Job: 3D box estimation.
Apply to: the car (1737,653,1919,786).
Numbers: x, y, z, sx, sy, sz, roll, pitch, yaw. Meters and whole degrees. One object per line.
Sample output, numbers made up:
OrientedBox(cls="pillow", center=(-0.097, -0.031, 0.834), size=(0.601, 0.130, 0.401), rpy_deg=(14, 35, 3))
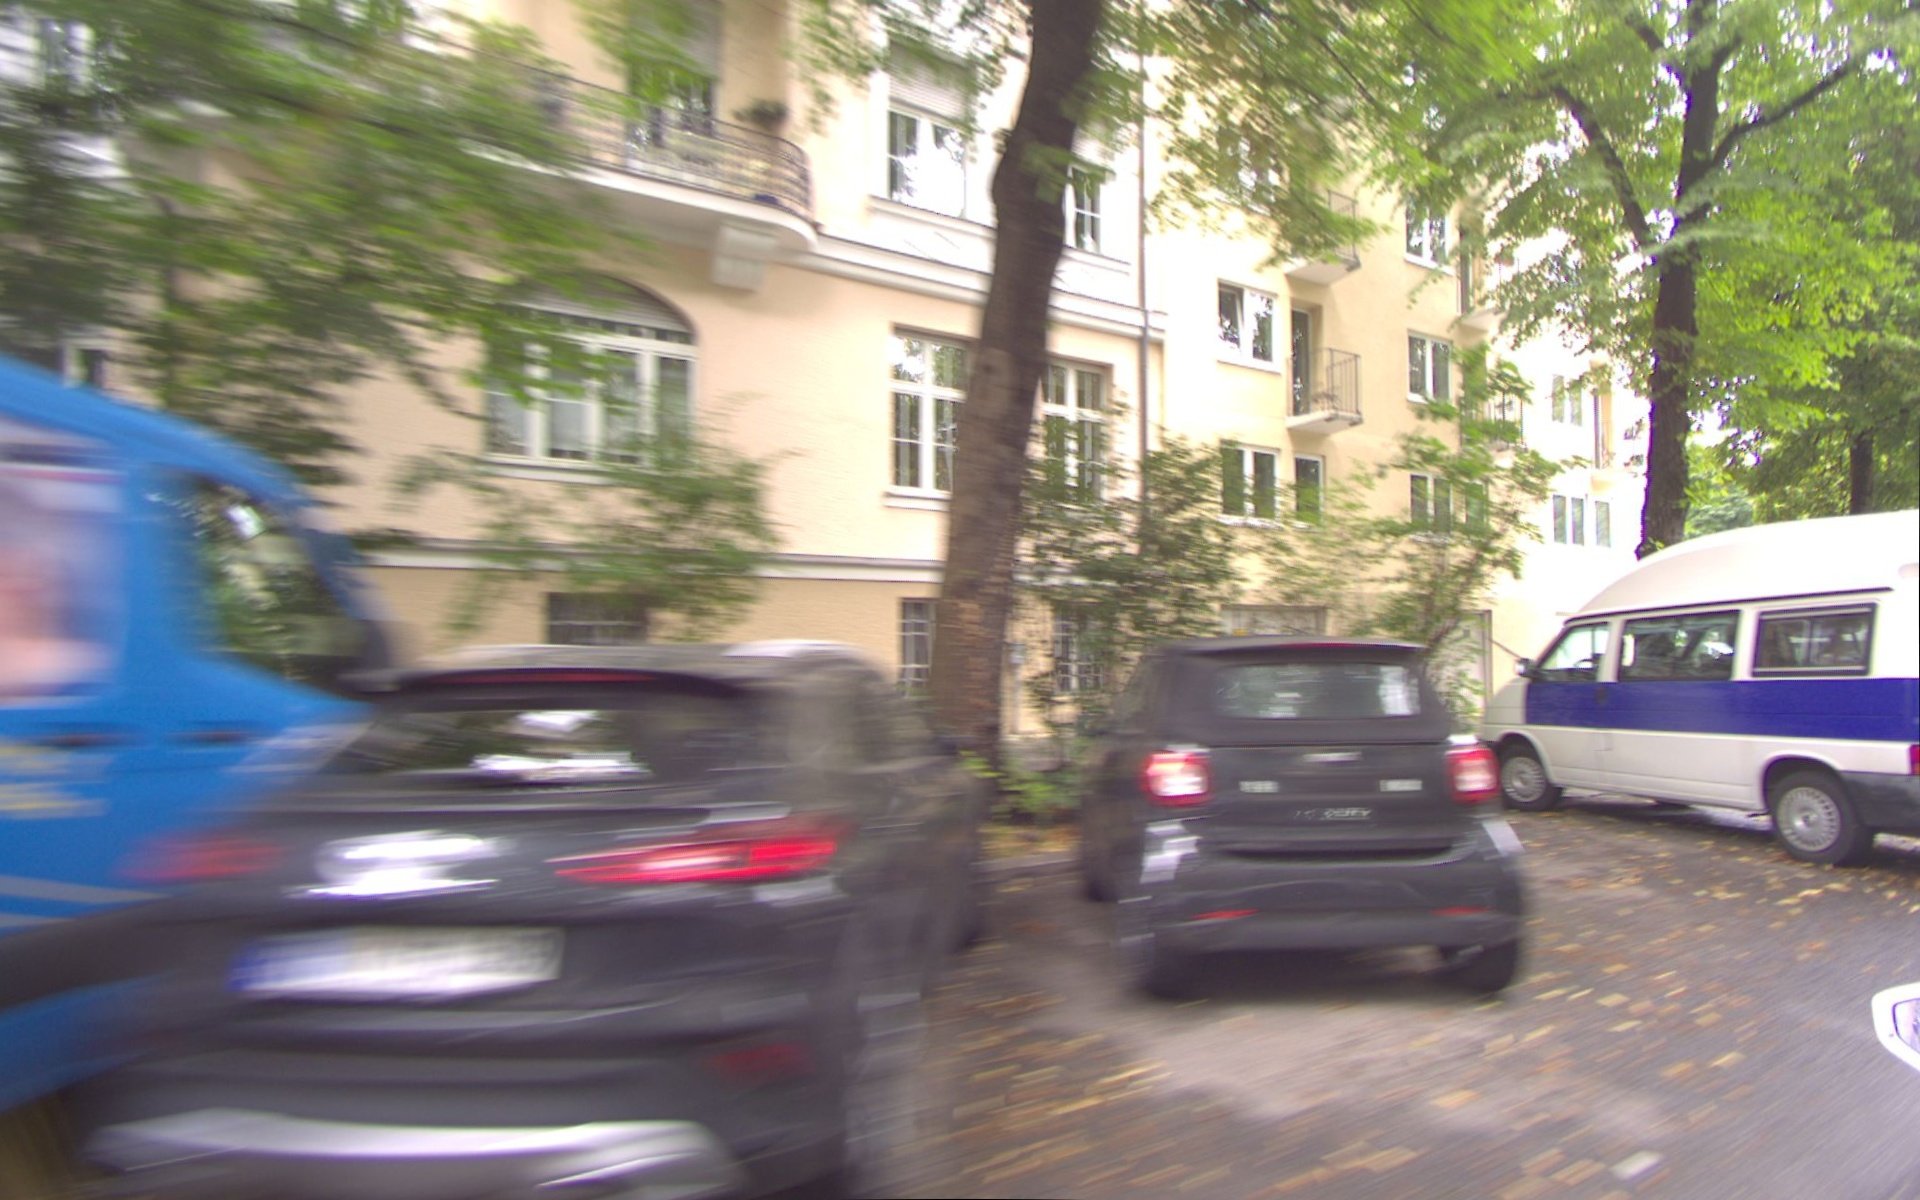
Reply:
OrientedBox(cls="car", center=(11.369, 1.311, 11.156), size=(1.715, 1.452, 3.969), rpy_deg=(1, -4, -30))

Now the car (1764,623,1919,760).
OrientedBox(cls="car", center=(13.309, 1.166, 12.880), size=(1.825, 1.754, 4.299), rpy_deg=(1, -3, -27))

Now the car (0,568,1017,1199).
OrientedBox(cls="car", center=(-0.842, 0.856, 3.873), size=(1.779, 1.556, 4.004), rpy_deg=(0, -4, 8))

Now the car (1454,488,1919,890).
OrientedBox(cls="car", center=(6.407, 0.675, 8.315), size=(1.870, 2.408, 4.579), rpy_deg=(0, -3, -8))

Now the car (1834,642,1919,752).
OrientedBox(cls="car", center=(15.481, 1.411, 14.143), size=(1.811, 1.617, 4.436), rpy_deg=(1, -2, -25))

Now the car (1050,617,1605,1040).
OrientedBox(cls="car", center=(1.560, 0.991, 5.756), size=(1.780, 1.581, 3.870), rpy_deg=(0, -4, 1))

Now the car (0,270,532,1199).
OrientedBox(cls="car", center=(-3.407, 0.358, 2.303), size=(2.024, 2.384, 5.502), rpy_deg=(0, -5, 5))
